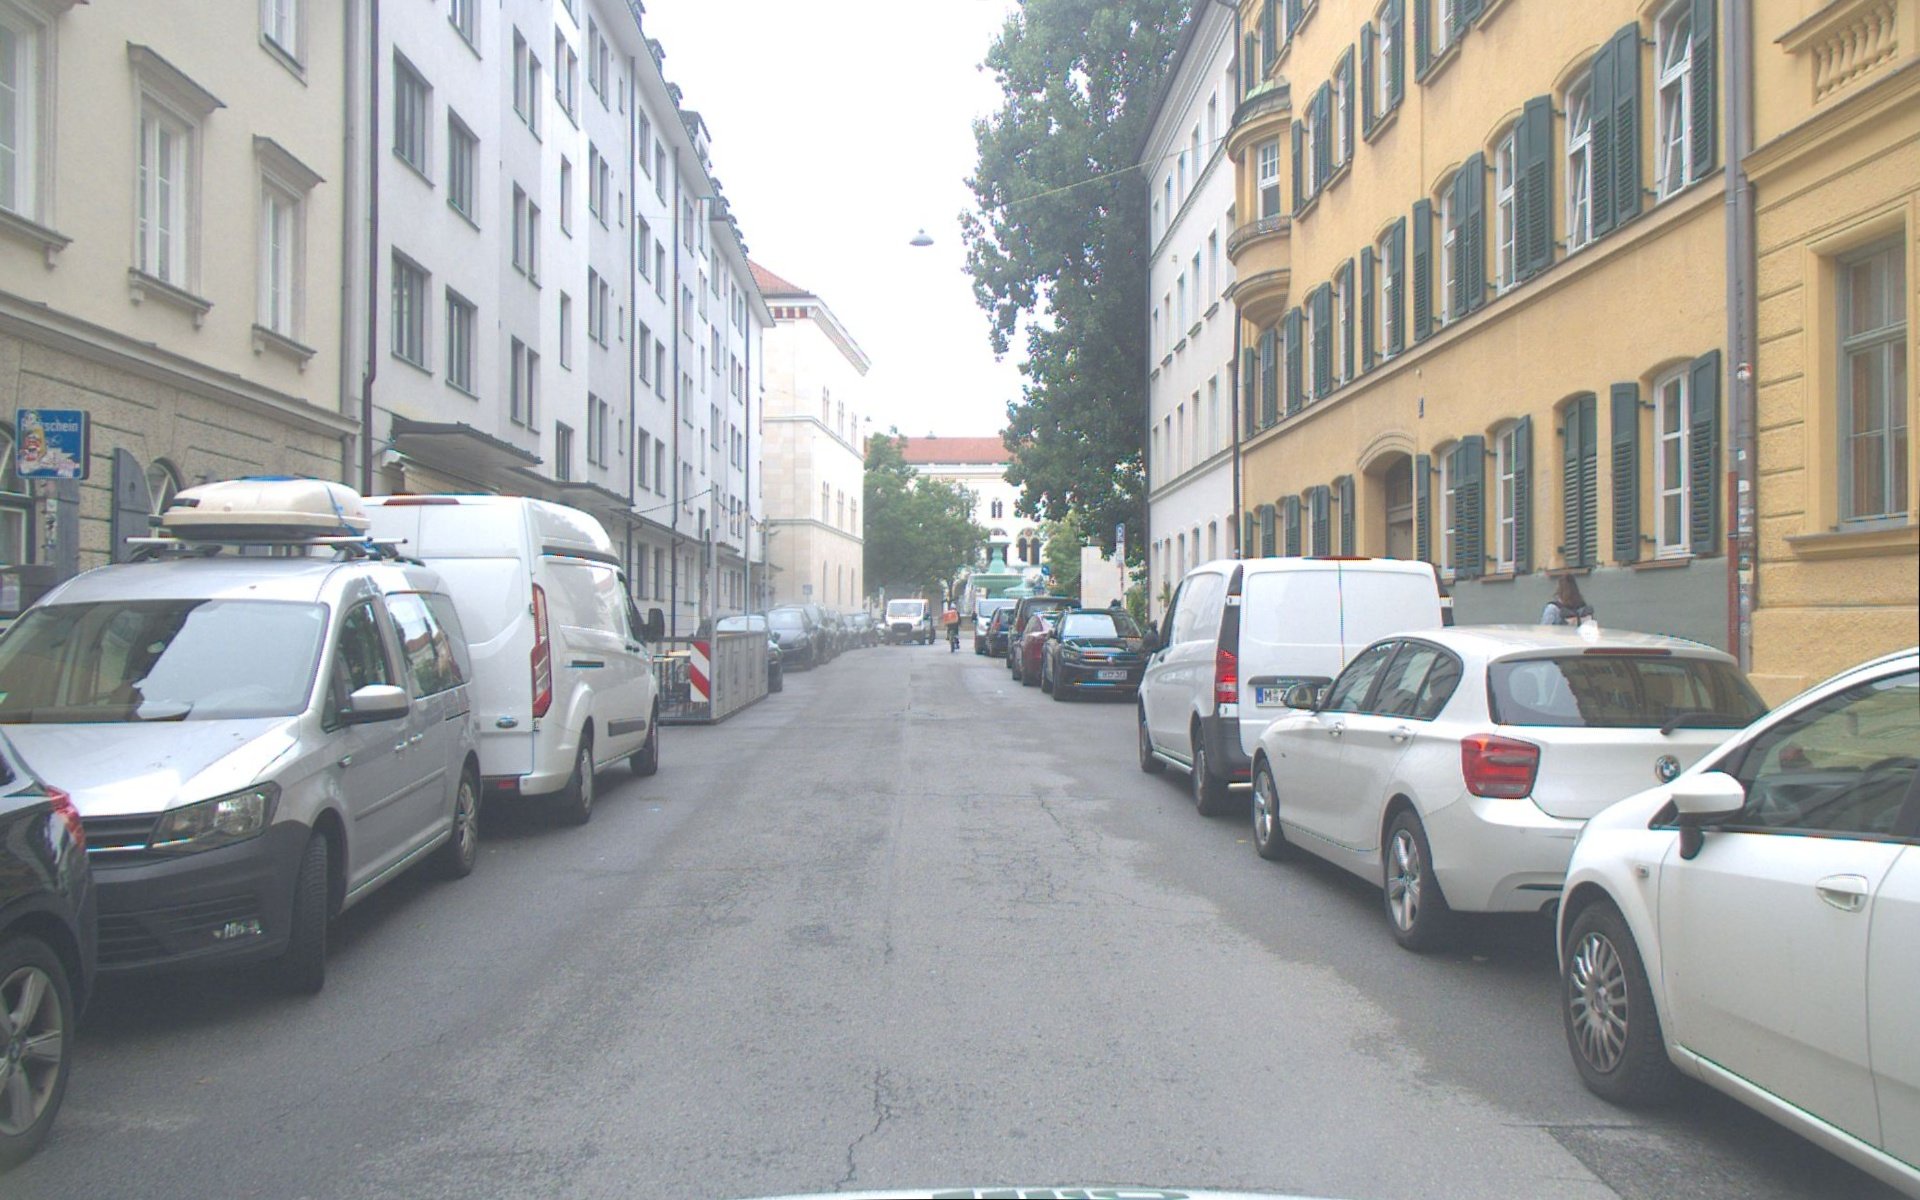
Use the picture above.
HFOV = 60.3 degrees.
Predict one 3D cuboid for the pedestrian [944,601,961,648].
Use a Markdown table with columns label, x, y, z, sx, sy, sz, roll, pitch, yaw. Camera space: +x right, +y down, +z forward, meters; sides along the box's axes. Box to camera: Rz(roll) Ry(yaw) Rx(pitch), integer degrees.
| label | x | y | z | sx | sy | sz | roll | pitch | yaw |
| --- | --- | --- | --- | --- | --- | --- | --- | --- | --- |
| pedestrian | -0.289 | 0.918 | 61.902 | 0.629 | 1.744 | 0.842 | -1 | -2 | -1 |

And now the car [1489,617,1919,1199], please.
| label | x | y | z | sx | sy | sz | roll | pitch | yaw |
| --- | --- | --- | --- | --- | --- | --- | --- | --- | --- |
| car | 2.876 | 0.785 | 4.042 | 1.674 | 1.480 | 4.094 | 0 | 0 | -3 |

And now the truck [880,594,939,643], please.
| label | x | y | z | sx | sy | sz | roll | pitch | yaw |
| --- | --- | --- | --- | --- | --- | --- | --- | --- | --- |
| truck | -2.440 | 0.945 | 82.095 | 2.076 | 2.287 | 6.189 | -1 | -1 | 6 |

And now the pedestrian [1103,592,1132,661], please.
| label | x | y | z | sx | sy | sz | roll | pitch | yaw |
| --- | --- | --- | --- | --- | --- | --- | --- | --- | --- |
| pedestrian | 4.708 | 0.784 | 49.465 | 0.656 | 2.015 | 0.708 | -3 | -2 | -1 |

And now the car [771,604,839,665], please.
| label | x | y | z | sx | sy | sz | roll | pitch | yaw |
| --- | --- | --- | --- | --- | --- | --- | --- | --- | --- |
| car | -4.391 | 0.972 | 47.315 | 1.672 | 1.637 | 3.861 | -1 | -1 | -2 |

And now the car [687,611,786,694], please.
| label | x | y | z | sx | sy | sz | roll | pitch | yaw |
| --- | --- | --- | --- | --- | --- | --- | --- | --- | --- |
| car | -4.332 | 0.968 | 31.912 | 1.729 | 1.435 | 4.147 | -1 | -1 | -8 |

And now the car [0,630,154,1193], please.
| label | x | y | z | sx | sy | sz | roll | pitch | yaw |
| --- | --- | --- | --- | --- | --- | --- | --- | --- | --- |
| car | -3.271 | 0.794 | 3.029 | 1.719 | 1.433 | 4.101 | 0 | 0 | -3 |

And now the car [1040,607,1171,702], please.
| label | x | y | z | sx | sy | sz | roll | pitch | yaw |
| --- | --- | --- | --- | --- | --- | --- | --- | --- | --- |
| car | 2.431 | 0.888 | 28.566 | 1.775 | 1.490 | 4.245 | 1 | -1 | -1 |

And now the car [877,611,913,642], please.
| label | x | y | z | sx | sy | sz | roll | pitch | yaw |
| --- | --- | --- | --- | --- | --- | --- | --- | --- | --- |
| car | -3.512 | 1.434 | 89.847 | 1.671 | 1.609 | 3.863 | -1 | -1 | 1 |

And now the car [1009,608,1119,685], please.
| label | x | y | z | sx | sy | sz | roll | pitch | yaw |
| --- | --- | --- | --- | --- | --- | --- | --- | --- | --- |
| car | 2.069 | 0.921 | 33.901 | 1.775 | 1.449 | 4.244 | 1 | -1 | -3 |

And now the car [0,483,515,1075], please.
| label | x | y | z | sx | sy | sz | roll | pitch | yaw |
| --- | --- | --- | --- | --- | --- | --- | --- | --- | --- |
| car | -3.450 | 0.631 | 7.992 | 1.720 | 2.030 | 4.620 | 0 | 0 | -5 |

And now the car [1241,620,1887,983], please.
| label | x | y | z | sx | sy | sz | roll | pitch | yaw |
| --- | --- | --- | --- | --- | --- | --- | --- | --- | --- |
| car | 2.776 | 0.823 | 8.698 | 1.674 | 1.417 | 4.203 | 0 | 0 | -3 |

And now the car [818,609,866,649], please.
| label | x | y | z | sx | sy | sz | roll | pitch | yaw |
| --- | --- | --- | --- | --- | --- | --- | --- | --- | --- |
| car | -4.974 | 1.206 | 70.167 | 1.671 | 1.637 | 3.863 | -1 | -1 | 1 |

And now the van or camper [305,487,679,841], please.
| label | x | y | z | sx | sy | sz | roll | pitch | yaw |
| --- | --- | --- | --- | --- | --- | --- | --- | --- | --- |
| van or camper | -3.525 | 0.438 | 13.528 | 1.719 | 2.321 | 5.271 | 0 | 0 | -2 |

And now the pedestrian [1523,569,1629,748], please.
| label | x | y | z | sx | sy | sz | roll | pitch | yaw |
| --- | --- | --- | --- | --- | --- | --- | --- | --- | --- |
| pedestrian | 5.747 | 0.543 | 15.464 | 0.647 | 1.599 | 0.642 | -3 | -2 | -2 |

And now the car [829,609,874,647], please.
| label | x | y | z | sx | sy | sz | roll | pitch | yaw |
| --- | --- | --- | --- | --- | --- | --- | --- | --- | --- |
| car | -4.891 | 1.250 | 75.184 | 1.671 | 1.637 | 3.863 | -1 | -1 | 1 |

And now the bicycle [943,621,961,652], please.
| label | x | y | z | sx | sy | sz | roll | pitch | yaw |
| --- | --- | --- | --- | --- | --- | --- | --- | --- | --- |
| bicycle | -0.294 | 1.363 | 61.890 | 0.662 | 1.114 | 1.760 | -1 | -2 | 0 |

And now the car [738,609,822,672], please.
| label | x | y | z | sx | sy | sz | roll | pitch | yaw |
| --- | --- | --- | --- | --- | --- | --- | --- | --- | --- |
| car | -4.464 | 0.985 | 41.489 | 1.781 | 1.470 | 3.816 | -1 | -1 | -2 |

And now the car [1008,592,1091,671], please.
| label | x | y | z | sx | sy | sz | roll | pitch | yaw |
| --- | --- | --- | --- | --- | --- | --- | --- | --- | --- |
| car | 2.154 | 0.761 | 40.799 | 1.775 | 1.829 | 4.246 | 1 | -1 | -1 |

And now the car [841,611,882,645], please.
| label | x | y | z | sx | sy | sz | roll | pitch | yaw |
| --- | --- | --- | --- | --- | --- | --- | --- | --- | --- |
| car | -4.813 | 1.350 | 81.246 | 1.671 | 1.609 | 3.863 | -1 | -1 | 1 |

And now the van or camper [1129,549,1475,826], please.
| label | x | y | z | sx | sy | sz | roll | pitch | yaw |
| --- | --- | --- | --- | --- | --- | --- | --- | --- | --- |
| van or camper | 2.617 | 0.615 | 13.924 | 1.796 | 1.904 | 5.078 | 0 | 0 | -1 |

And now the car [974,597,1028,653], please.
| label | x | y | z | sx | sy | sz | roll | pitch | yaw |
| --- | --- | --- | --- | --- | --- | --- | --- | --- | --- |
| car | 1.478 | 0.894 | 60.729 | 1.814 | 1.953 | 4.768 | 0 | -1 | -1 |

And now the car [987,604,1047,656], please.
| label | x | y | z | sx | sy | sz | roll | pitch | yaw |
| --- | --- | --- | --- | --- | --- | --- | --- | --- | --- |
| car | 1.855 | 0.971 | 54.882 | 1.775 | 1.642 | 4.155 | 0 | -1 | -1 |

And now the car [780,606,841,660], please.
| label | x | y | z | sx | sy | sz | roll | pitch | yaw |
| --- | --- | --- | --- | --- | --- | --- | --- | --- | --- |
| car | -4.727 | 1.030 | 52.605 | 1.672 | 1.637 | 3.861 | -1 | -1 | -2 |
